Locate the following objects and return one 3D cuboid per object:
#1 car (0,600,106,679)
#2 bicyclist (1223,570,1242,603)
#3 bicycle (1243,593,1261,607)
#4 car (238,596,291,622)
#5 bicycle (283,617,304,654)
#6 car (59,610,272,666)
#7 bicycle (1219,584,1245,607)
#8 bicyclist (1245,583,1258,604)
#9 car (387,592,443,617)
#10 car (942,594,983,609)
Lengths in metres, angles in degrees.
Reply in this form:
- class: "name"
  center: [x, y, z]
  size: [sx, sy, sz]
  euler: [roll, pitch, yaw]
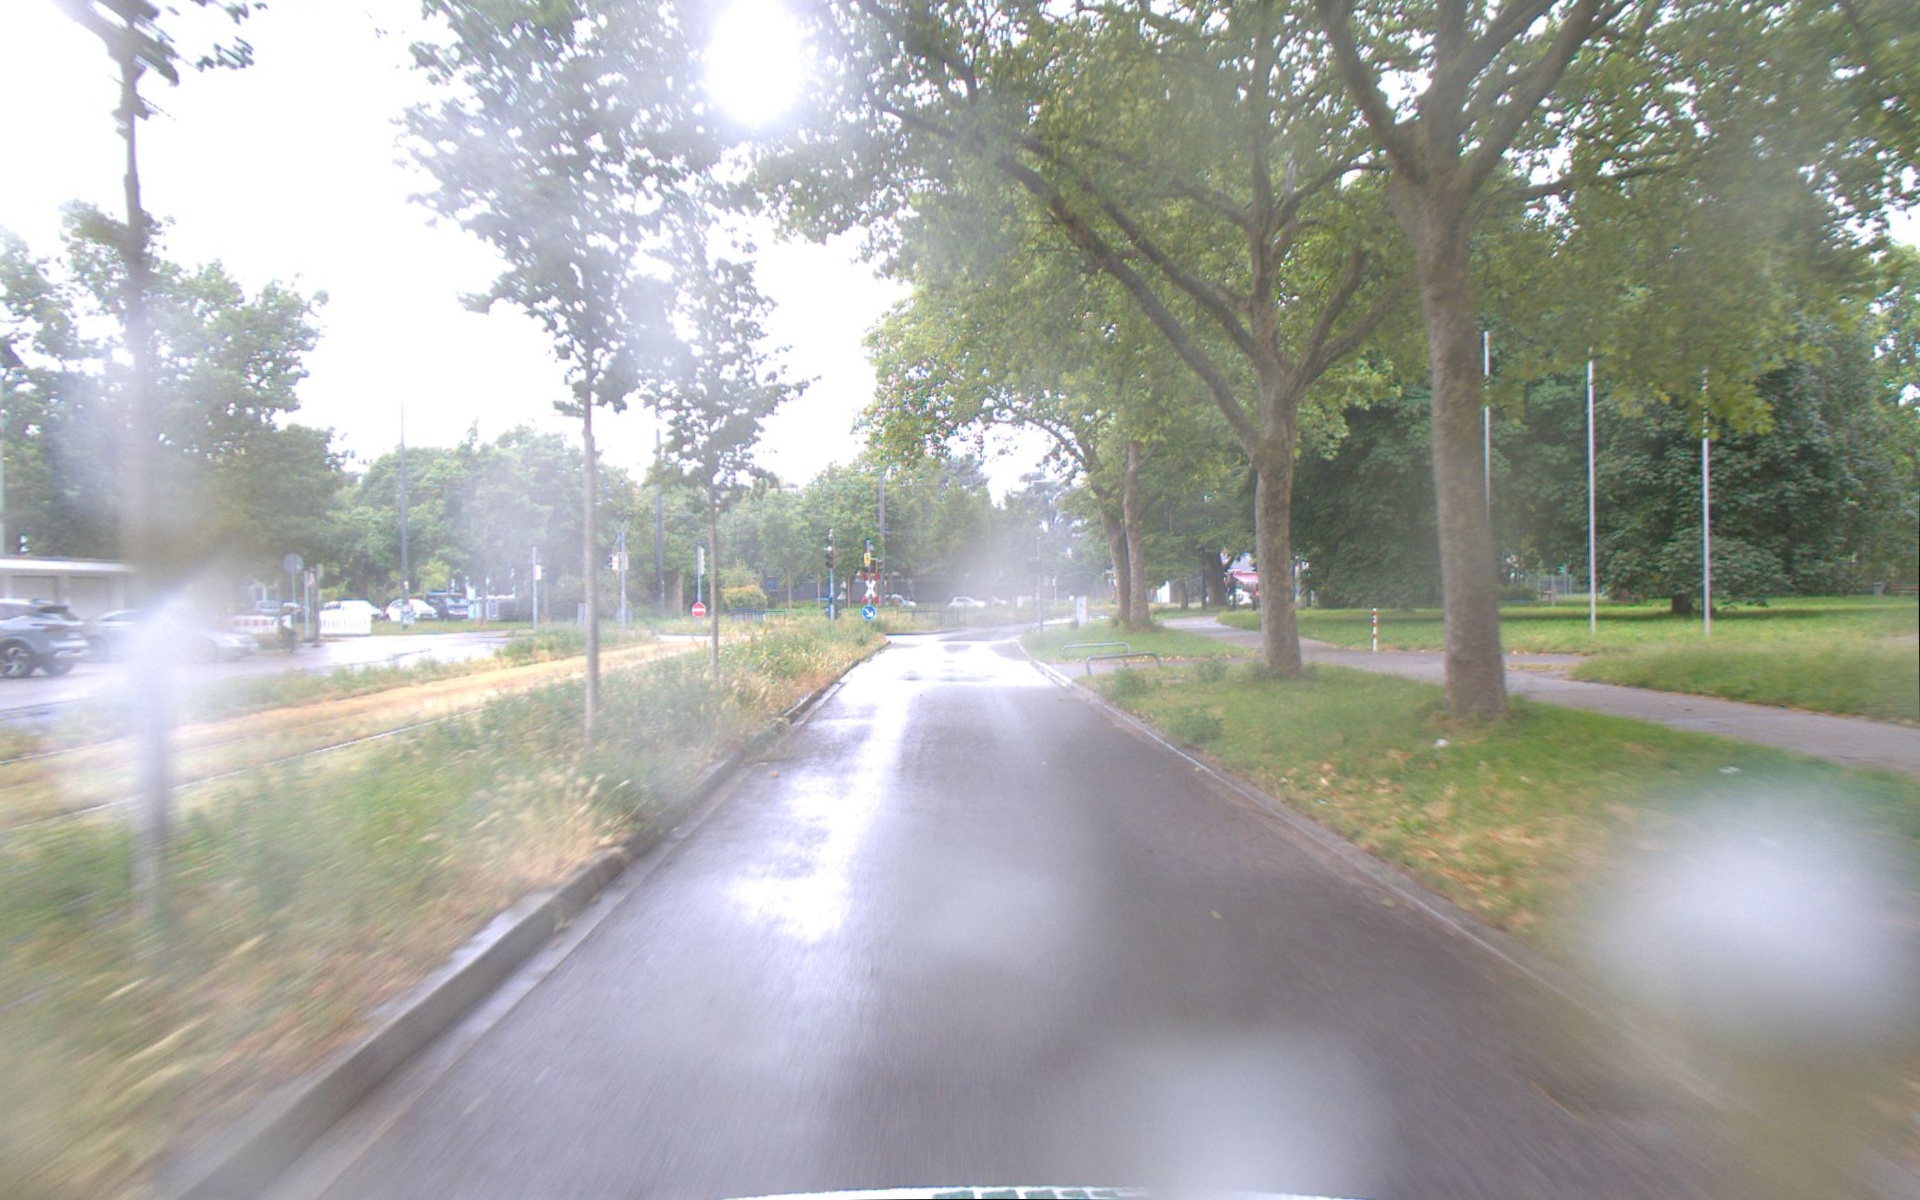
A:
- class: "car"
  center: [-20.513, 0.840, 34.930]
  size: [3.906, 1.603, 1.892]
  euler: [-1, 0, -2]
- class: "bicyclist"
  center: [14.667, -0.735, 89.168]
  size: [0.698, 1.751, 0.955]
  euler: [0, 1, 30]
- class: "bicycle"
  center: [15.644, -0.006, 88.606]
  size: [0.478, 0.721, 1.455]
  euler: [-1, 2, 30]
- class: "car"
  center: [-36.804, 0.482, 87.491]
  size: [1.649, 1.271, 3.689]
  euler: [-1, 0, -39]
- class: "bicycle"
  center: [-19.793, 1.037, 49.099]
  size: [0.474, 1.037, 1.827]
  euler: [2, 0, -25]
- class: "car"
  center: [-20.629, 0.973, 43.083]
  size: [4.629, 1.389, 1.848]
  euler: [0, 0, 0]
- class: "bicycle"
  center: [14.669, -0.234, 89.167]
  size: [0.698, 1.162, 1.968]
  euler: [0, 2, 30]
- class: "bicyclist"
  center: [15.619, -0.341, 88.584]
  size: [0.478, 1.056, 0.590]
  euler: [-1, 1, 30]
- class: "car"
  center: [-30.373, 0.251, 92.084]
  size: [1.651, 1.271, 3.685]
  euler: [-1, 0, -42]
- class: "car"
  center: [0.249, 0.143, 171.651]
  size: [3.979, 1.525, 1.653]
  euler: [-1, -1, 16]
